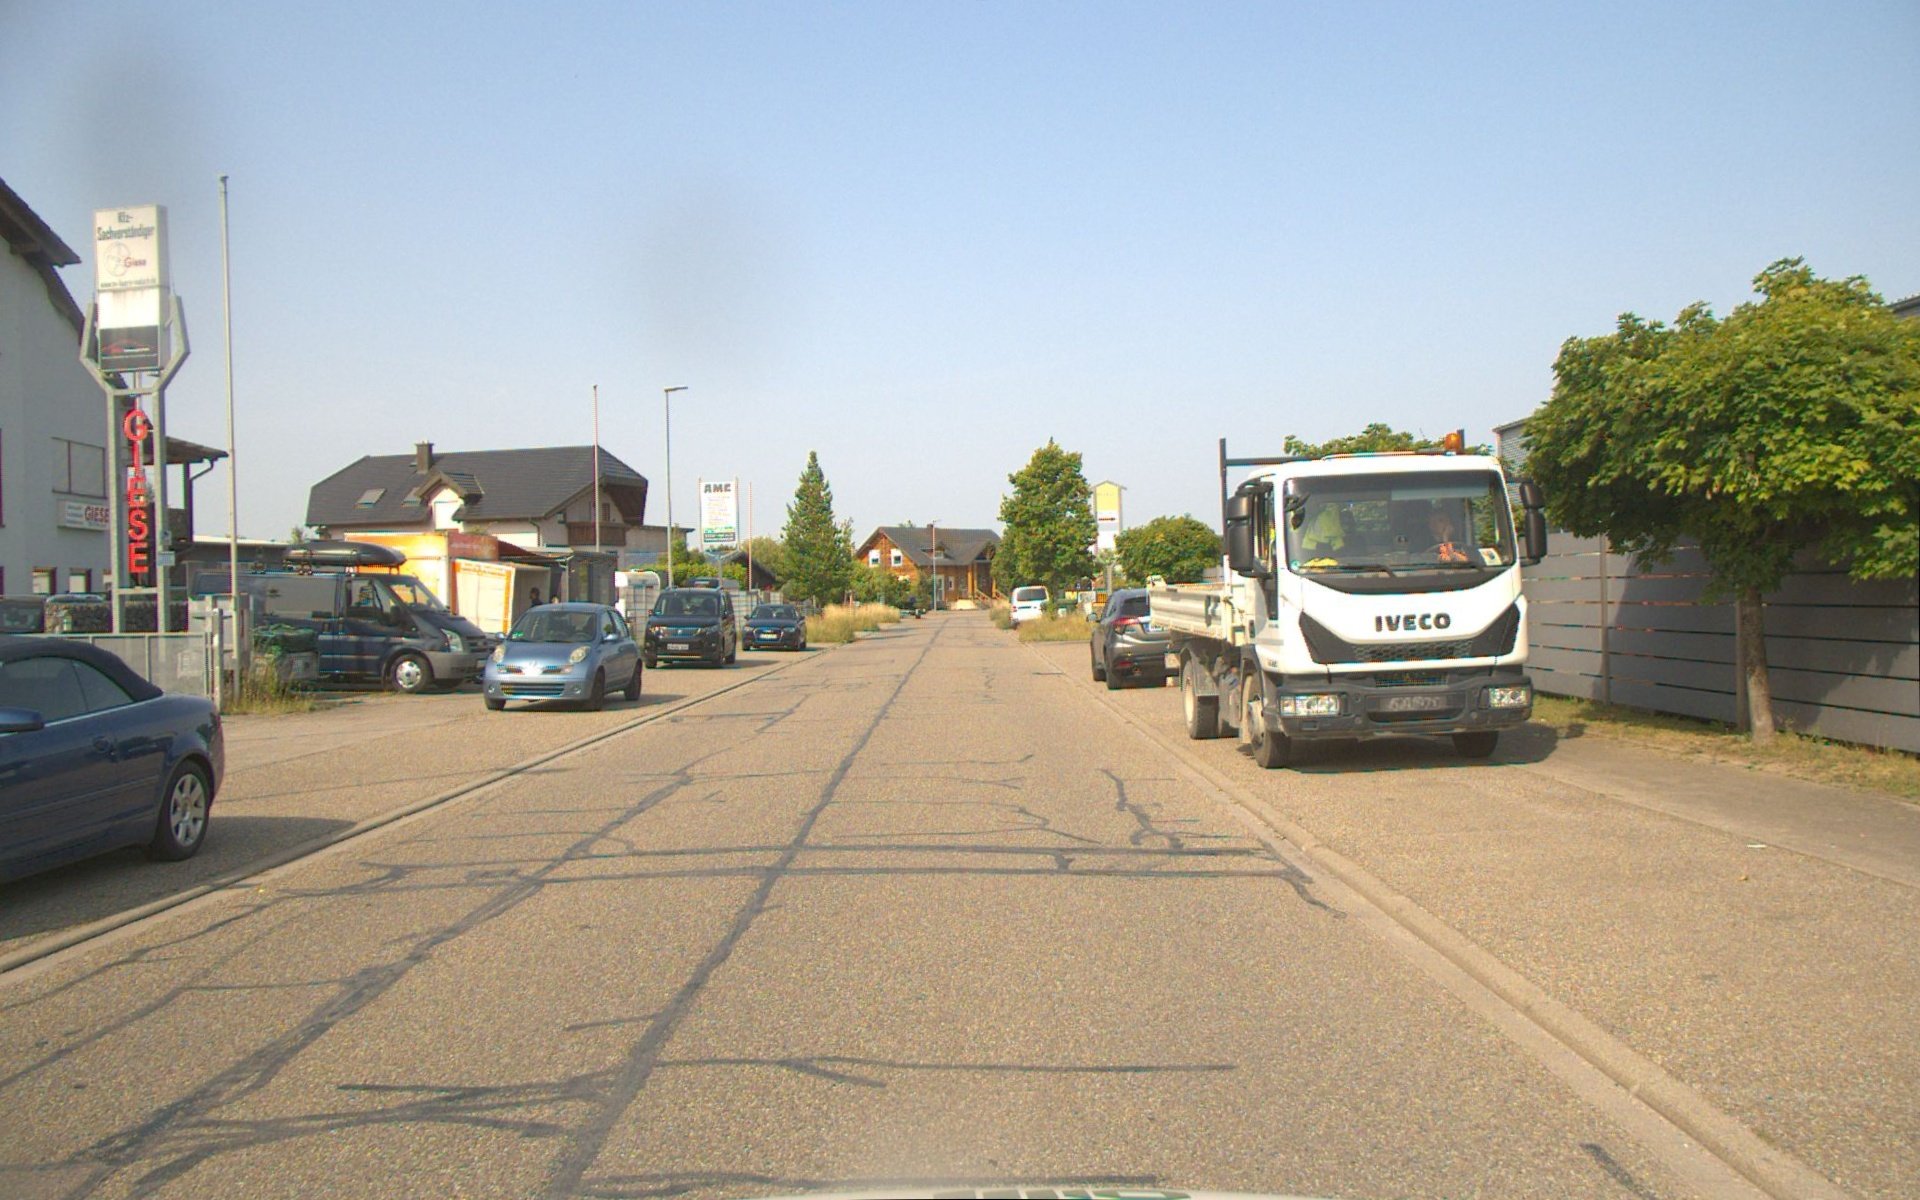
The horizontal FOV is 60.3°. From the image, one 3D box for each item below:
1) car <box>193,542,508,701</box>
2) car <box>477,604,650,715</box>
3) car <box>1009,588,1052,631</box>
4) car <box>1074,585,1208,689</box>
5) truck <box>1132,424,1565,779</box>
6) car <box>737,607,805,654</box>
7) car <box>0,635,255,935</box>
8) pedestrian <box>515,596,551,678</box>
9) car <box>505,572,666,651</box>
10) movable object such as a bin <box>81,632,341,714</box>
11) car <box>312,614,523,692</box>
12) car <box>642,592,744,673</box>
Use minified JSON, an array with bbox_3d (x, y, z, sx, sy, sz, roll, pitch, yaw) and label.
[{"bbox_3d":[-10.283,0.355,28.154,4.531,2.459,2.001,-2,0,2],"label":"car"},{"bbox_3d":[-5.910,0.844,25.018,1.599,1.544,3.606,0,0,2],"label":"car"},{"bbox_3d":[3.298,0.442,78.130,1.800,1.957,3.756,-2,0,0],"label":"car"},{"bbox_3d":[3.007,0.590,28.207,1.758,1.588,3.999,-2,0,-1],"label":"car"},{"bbox_3d":[3.418,0.004,16.317,2.312,2.728,6.506,-2,0,-4],"label":"truck"},{"bbox_3d":[-5.877,0.925,51.810,1.763,1.411,3.637,0,0,-1],"label":"car"},{"bbox_3d":[-5.510,0.936,8.854,1.600,1.411,4.369,0,0,0],"label":"car"},{"bbox_3d":[-9.279,0.803,35.975,0.558,1.745,0.527,-2,0,-38],"label":"pedestrian"},{"bbox_3d":[-13.550,0.401,59.897,5.050,2.631,2.577,-2,0,21],"label":"car"},{"bbox_3d":[-11.635,1.109,25.805,3.252,1.167,1.763,0,0,9],"label":"movable object such as a bin"},{"bbox_3d":[-10.414,1.003,31.943,3.516,1.439,1.761,0,0,-4],"label":"car"},{"bbox_3d":[-6.233,0.726,39.028,1.763,1.805,4.202,0,0,-1],"label":"car"}]
